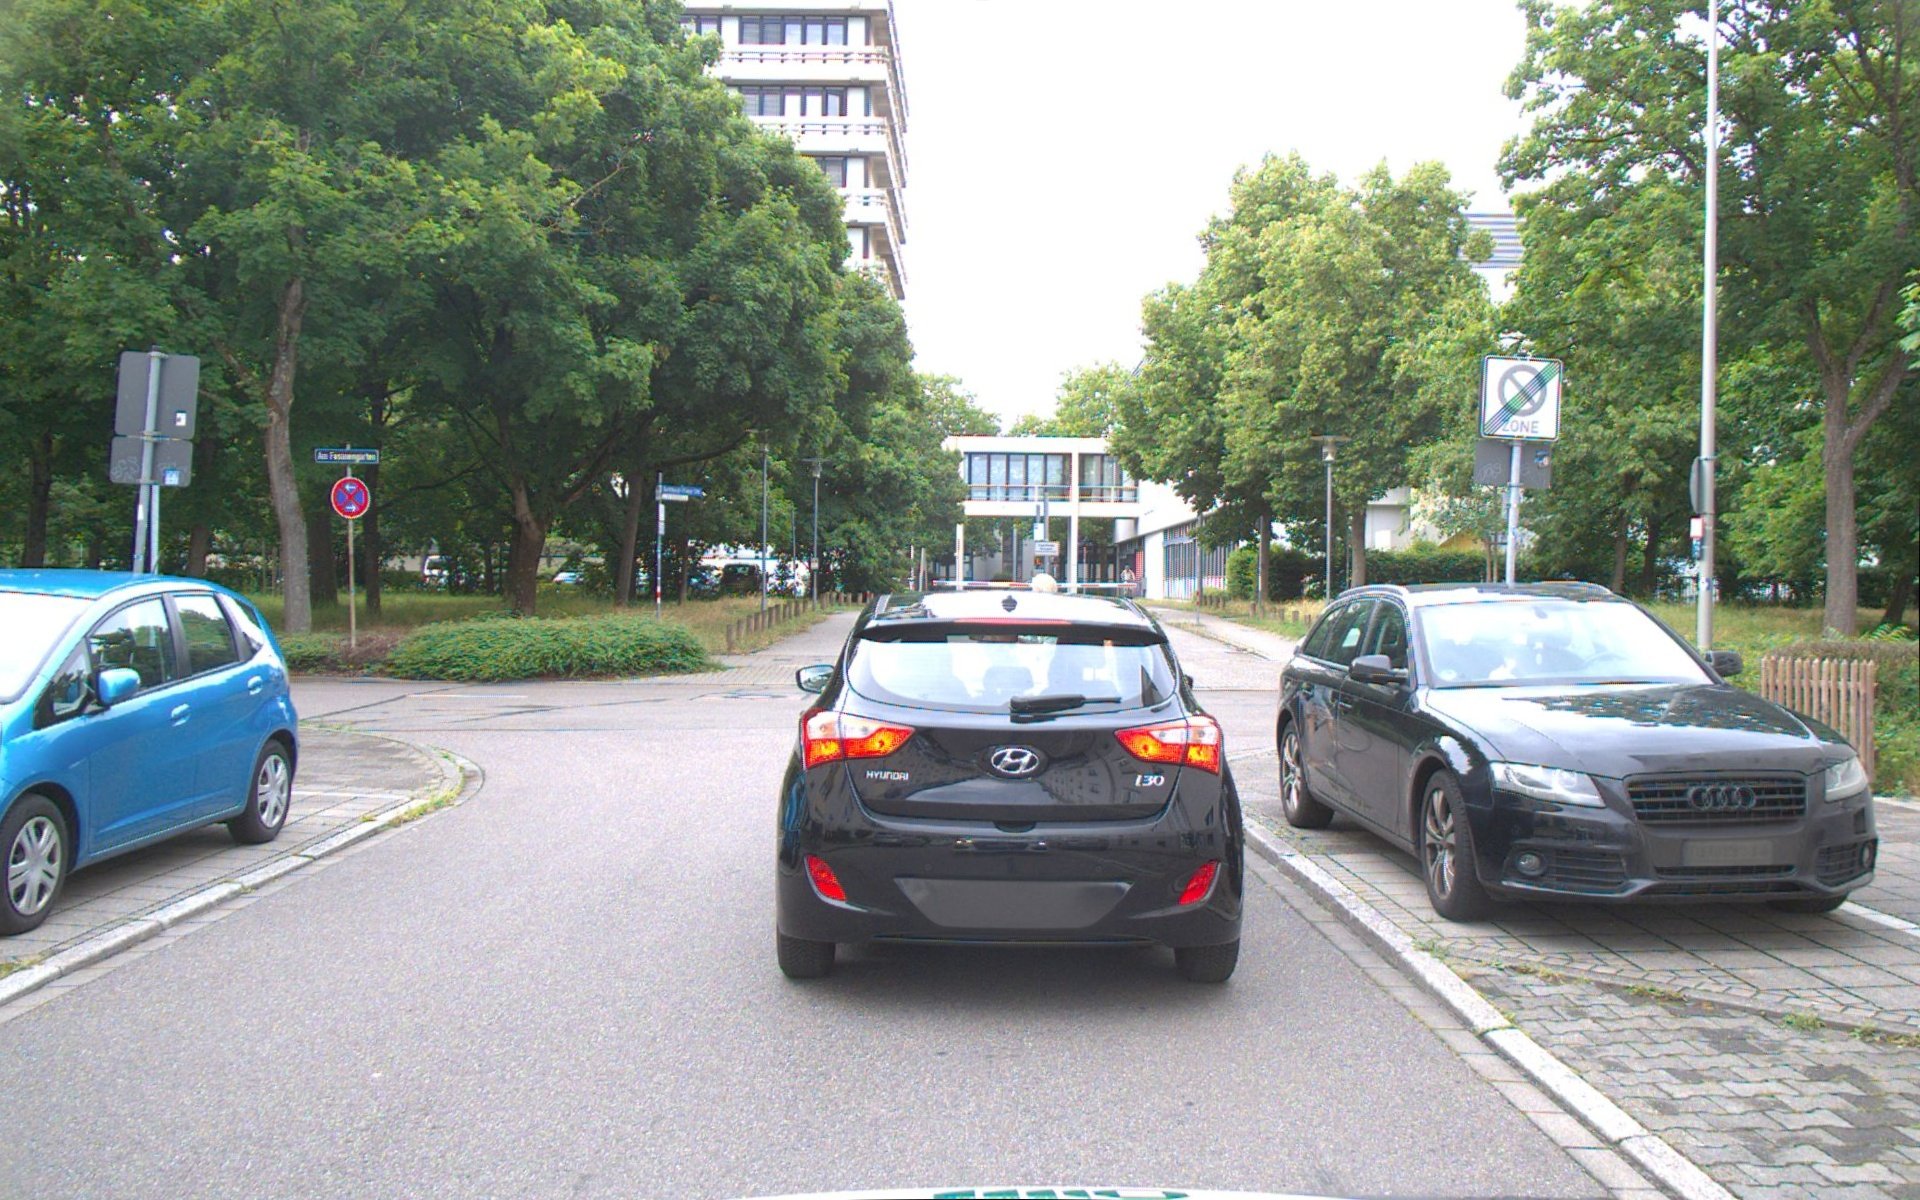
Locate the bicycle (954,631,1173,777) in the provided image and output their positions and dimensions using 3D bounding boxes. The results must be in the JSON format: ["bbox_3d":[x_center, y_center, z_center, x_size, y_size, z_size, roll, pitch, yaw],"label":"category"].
[{"bbox_3d":[0.883,0.879,14.220,1.779,1.139,0.537,-2,1,-9],"label":"bicycle"}]

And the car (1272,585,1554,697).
[{"bbox_3d":[6.240,0.547,22.985,3.461,1.462,1.566,0,1,-3],"label":"car"}]

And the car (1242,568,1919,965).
[{"bbox_3d":[2.885,0.594,8.648,1.823,1.488,4.723,-1,1,-3],"label":"car"}]

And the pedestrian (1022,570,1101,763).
[{"bbox_3d":[0.846,0.544,13.875,0.555,1.576,0.447,-2,1,-8],"label":"pedestrian"}]

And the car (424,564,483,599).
[{"bbox_3d":[-24.591,-0.908,80.366,1.880,1.646,3.997,0,1,-4],"label":"car"}]

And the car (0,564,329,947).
[{"bbox_3d":[-4.732,0.598,8.199,1.695,1.488,3.956,3,1,-1],"label":"car"}]

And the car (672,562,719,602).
[{"bbox_3d":[-12.800,-0.841,80.229,1.954,1.825,3.996,0,-1,-4],"label":"car"}]

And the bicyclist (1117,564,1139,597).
[{"bbox_3d":[8.431,-0.982,83.176,0.996,1.673,0.923,0,1,0],"label":"bicyclist"}]

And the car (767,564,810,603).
[{"bbox_3d":[-8.299,-0.777,80.341,1.954,1.792,3.996,0,0,-4],"label":"car"}]

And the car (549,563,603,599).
[{"bbox_3d":[-18.507,-0.918,79.906,1.954,1.646,3.997,0,1,-4],"label":"car"}]

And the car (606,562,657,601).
[{"bbox_3d":[-15.841,-0.883,79.866,1.954,1.758,3.996,0,-1,-4],"label":"car"}]

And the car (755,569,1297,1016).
[{"bbox_3d":[0.139,0.641,7.463,1.809,1.488,3.825,1,0,-3],"label":"car"}]

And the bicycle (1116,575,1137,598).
[{"bbox_3d":[8.404,-0.685,83.370,0.849,1.093,2.142,0,1,1],"label":"bicycle"}]
